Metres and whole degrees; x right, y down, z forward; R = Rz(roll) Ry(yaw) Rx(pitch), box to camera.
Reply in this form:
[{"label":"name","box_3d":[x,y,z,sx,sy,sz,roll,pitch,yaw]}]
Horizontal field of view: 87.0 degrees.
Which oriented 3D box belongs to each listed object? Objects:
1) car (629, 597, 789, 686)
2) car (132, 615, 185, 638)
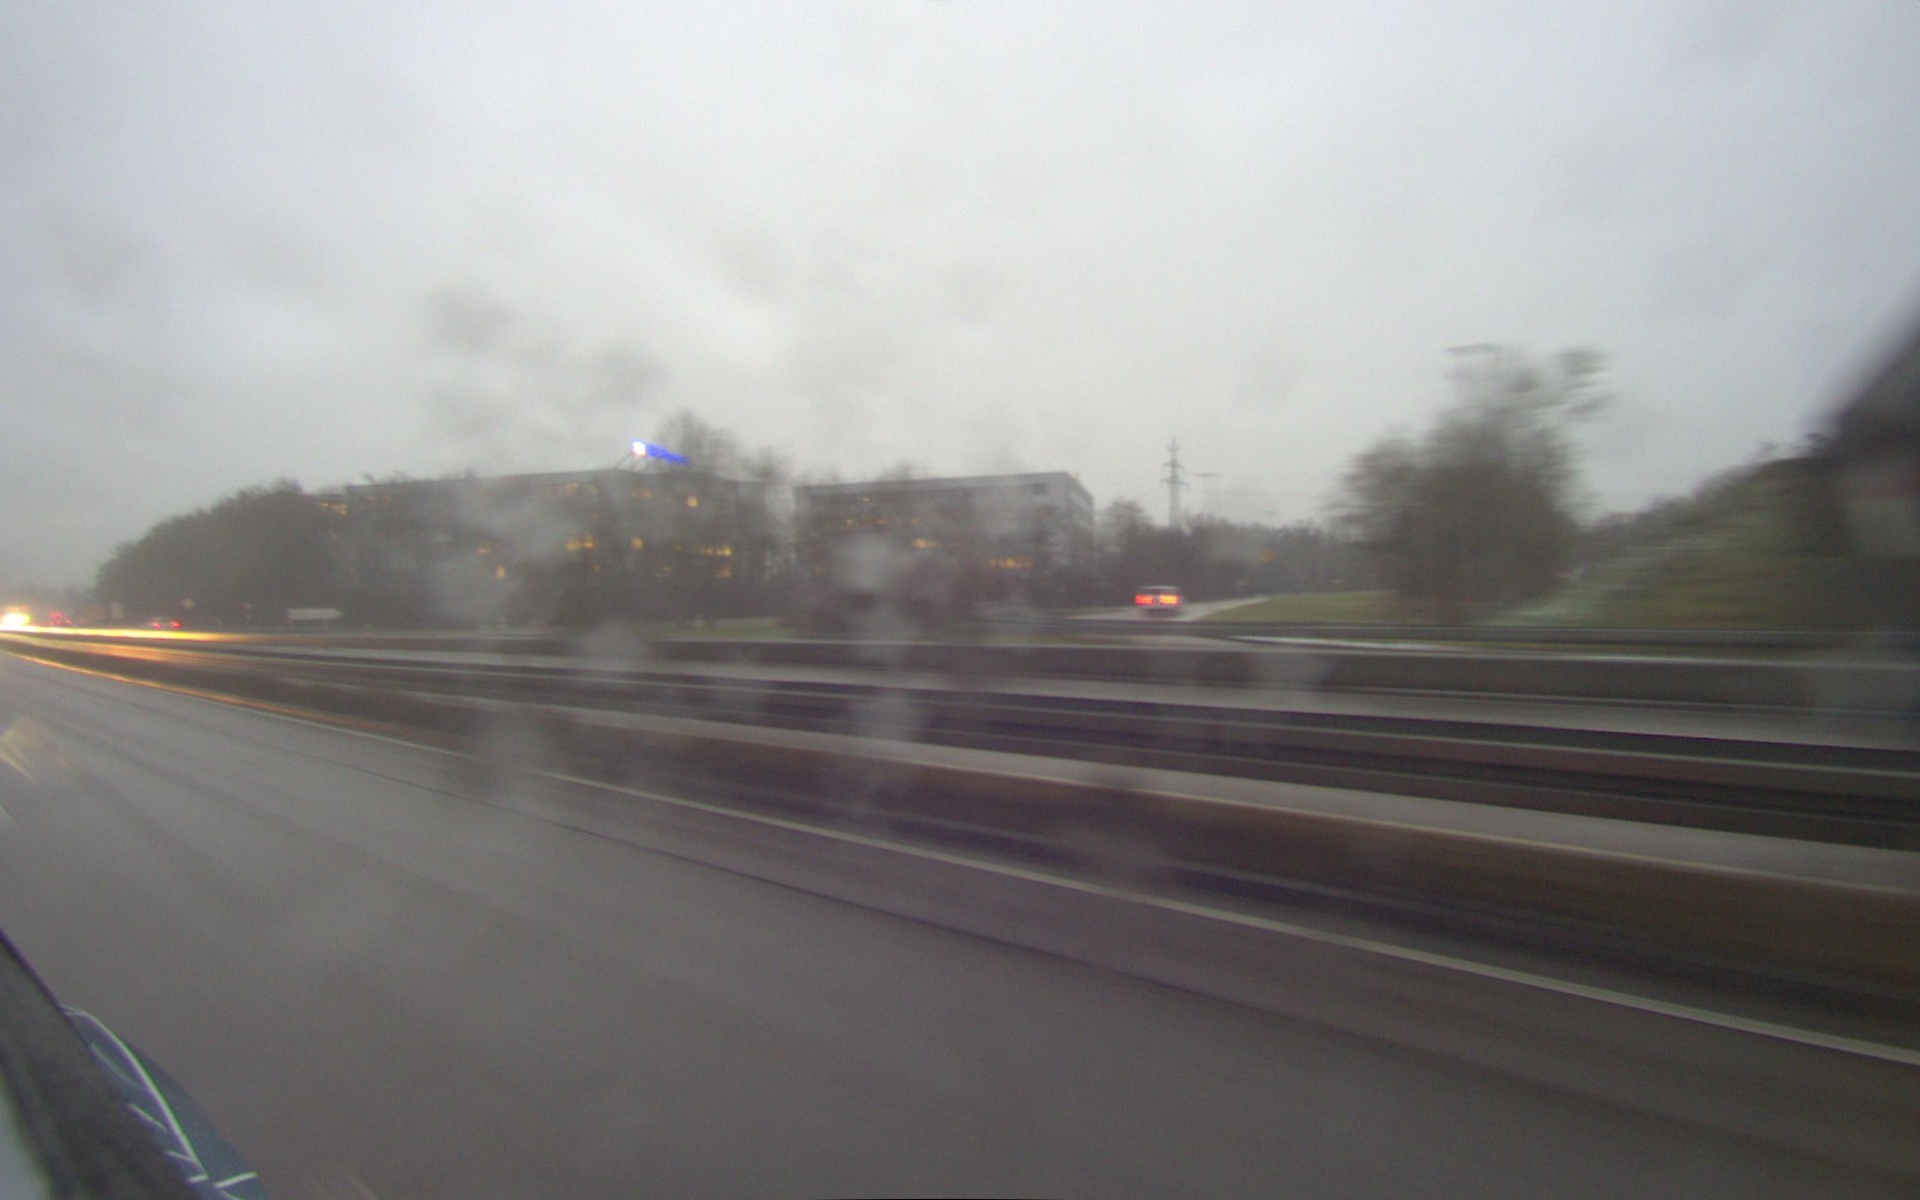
[{"label":"car","box_3d":[-6.507,1.037,26.076,3.998,2.028,1.973,-2,1,41]},{"label":"car","box_3d":[-69.793,2.303,88.131,3.973,1.697,1.839,-2,1,22]}]
